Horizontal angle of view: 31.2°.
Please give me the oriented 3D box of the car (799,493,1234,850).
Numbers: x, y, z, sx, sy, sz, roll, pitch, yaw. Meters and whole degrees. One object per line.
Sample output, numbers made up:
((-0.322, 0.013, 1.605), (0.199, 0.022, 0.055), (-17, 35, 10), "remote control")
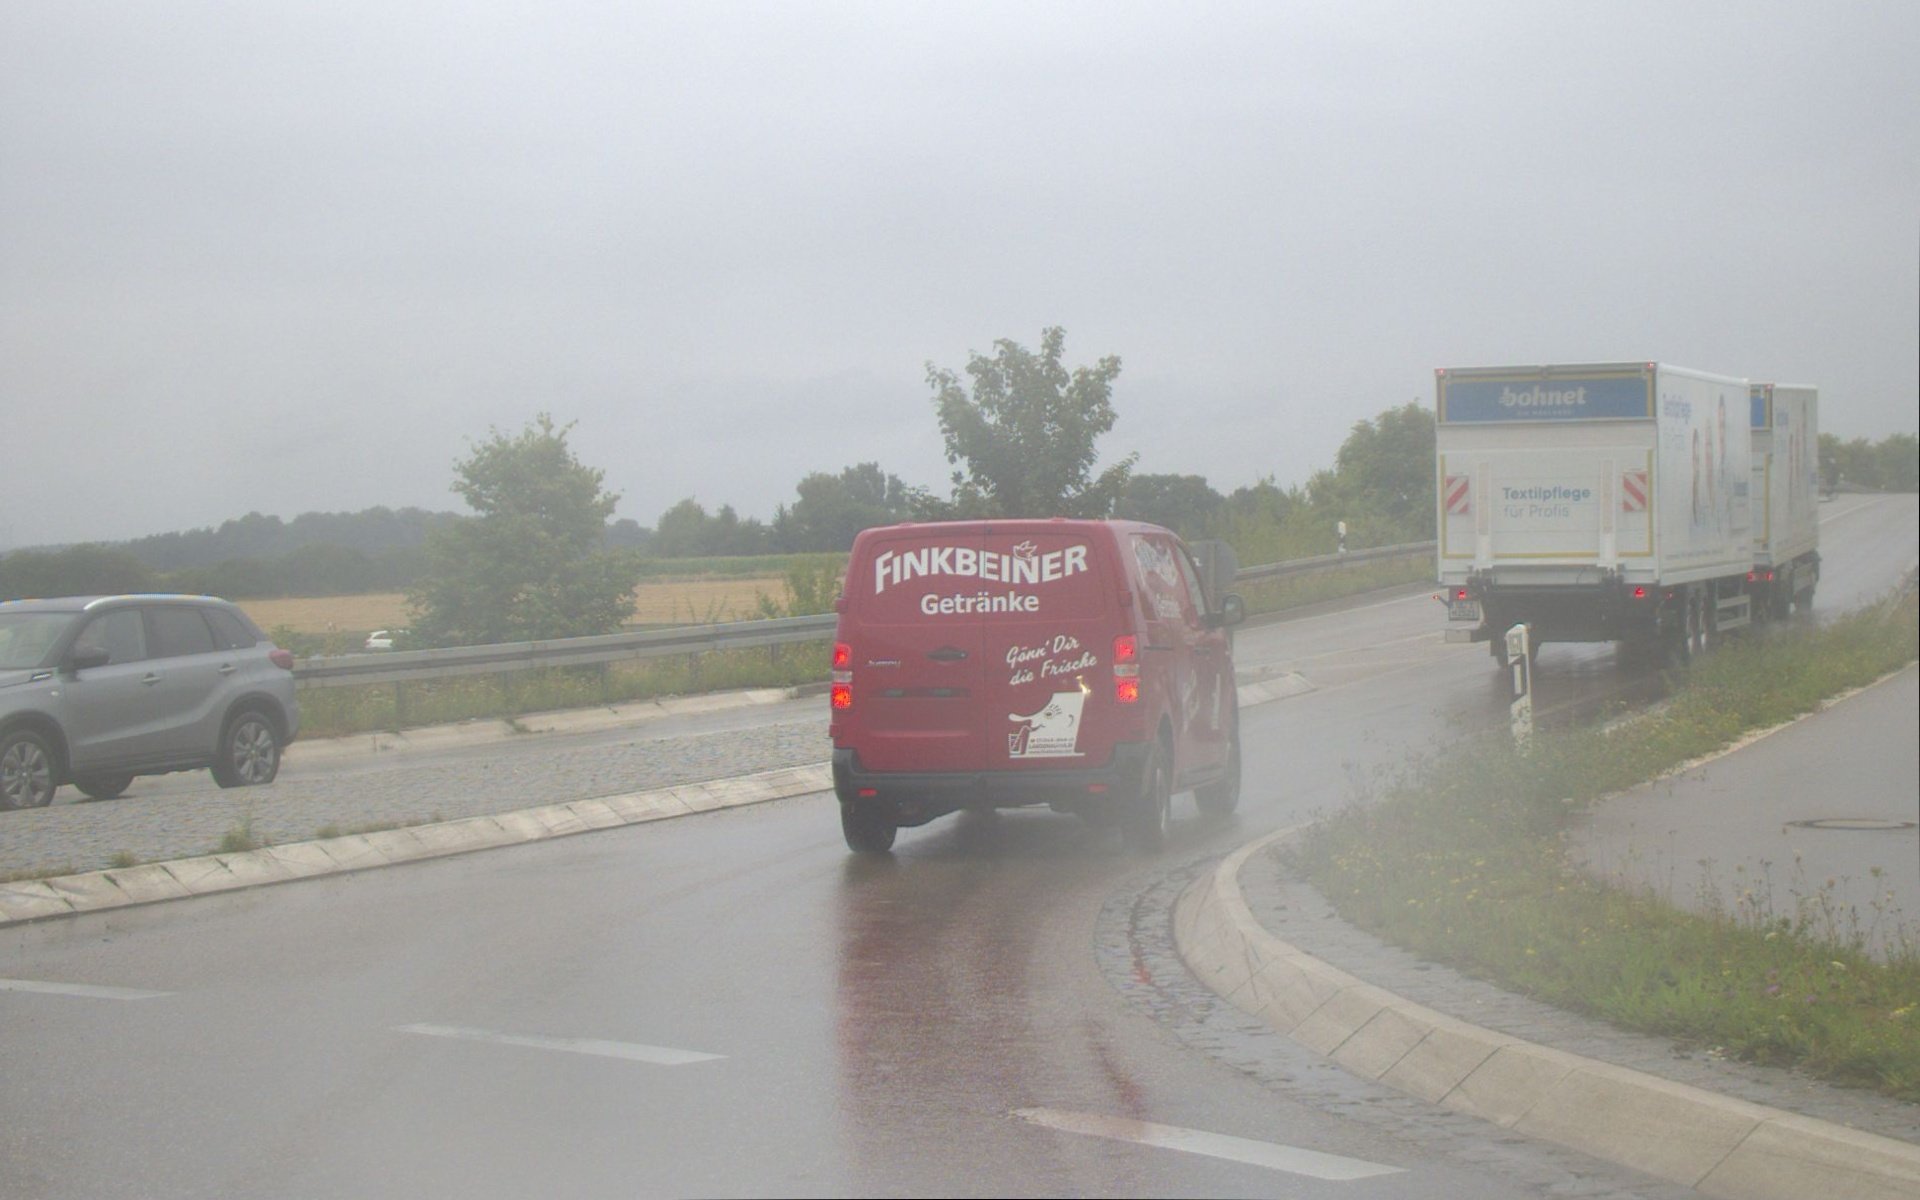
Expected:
((0.497, 0.329, 21.375), (1.994, 1.864, 4.977), (-2, 2, 9), "car")

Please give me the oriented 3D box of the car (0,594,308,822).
((-6.991, 0.776, 26.093), (1.804, 1.569, 3.993), (0, 1, 31), "car")

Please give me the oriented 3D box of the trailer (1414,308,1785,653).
((8.275, -1.493, 43.324), (2.835, 3.806, 9.705), (-1, 2, 21), "trailer")

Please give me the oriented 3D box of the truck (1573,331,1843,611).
((11.325, -1.910, 51.471), (2.802, 3.806, 7.682), (-1, 2, 20), "truck")
